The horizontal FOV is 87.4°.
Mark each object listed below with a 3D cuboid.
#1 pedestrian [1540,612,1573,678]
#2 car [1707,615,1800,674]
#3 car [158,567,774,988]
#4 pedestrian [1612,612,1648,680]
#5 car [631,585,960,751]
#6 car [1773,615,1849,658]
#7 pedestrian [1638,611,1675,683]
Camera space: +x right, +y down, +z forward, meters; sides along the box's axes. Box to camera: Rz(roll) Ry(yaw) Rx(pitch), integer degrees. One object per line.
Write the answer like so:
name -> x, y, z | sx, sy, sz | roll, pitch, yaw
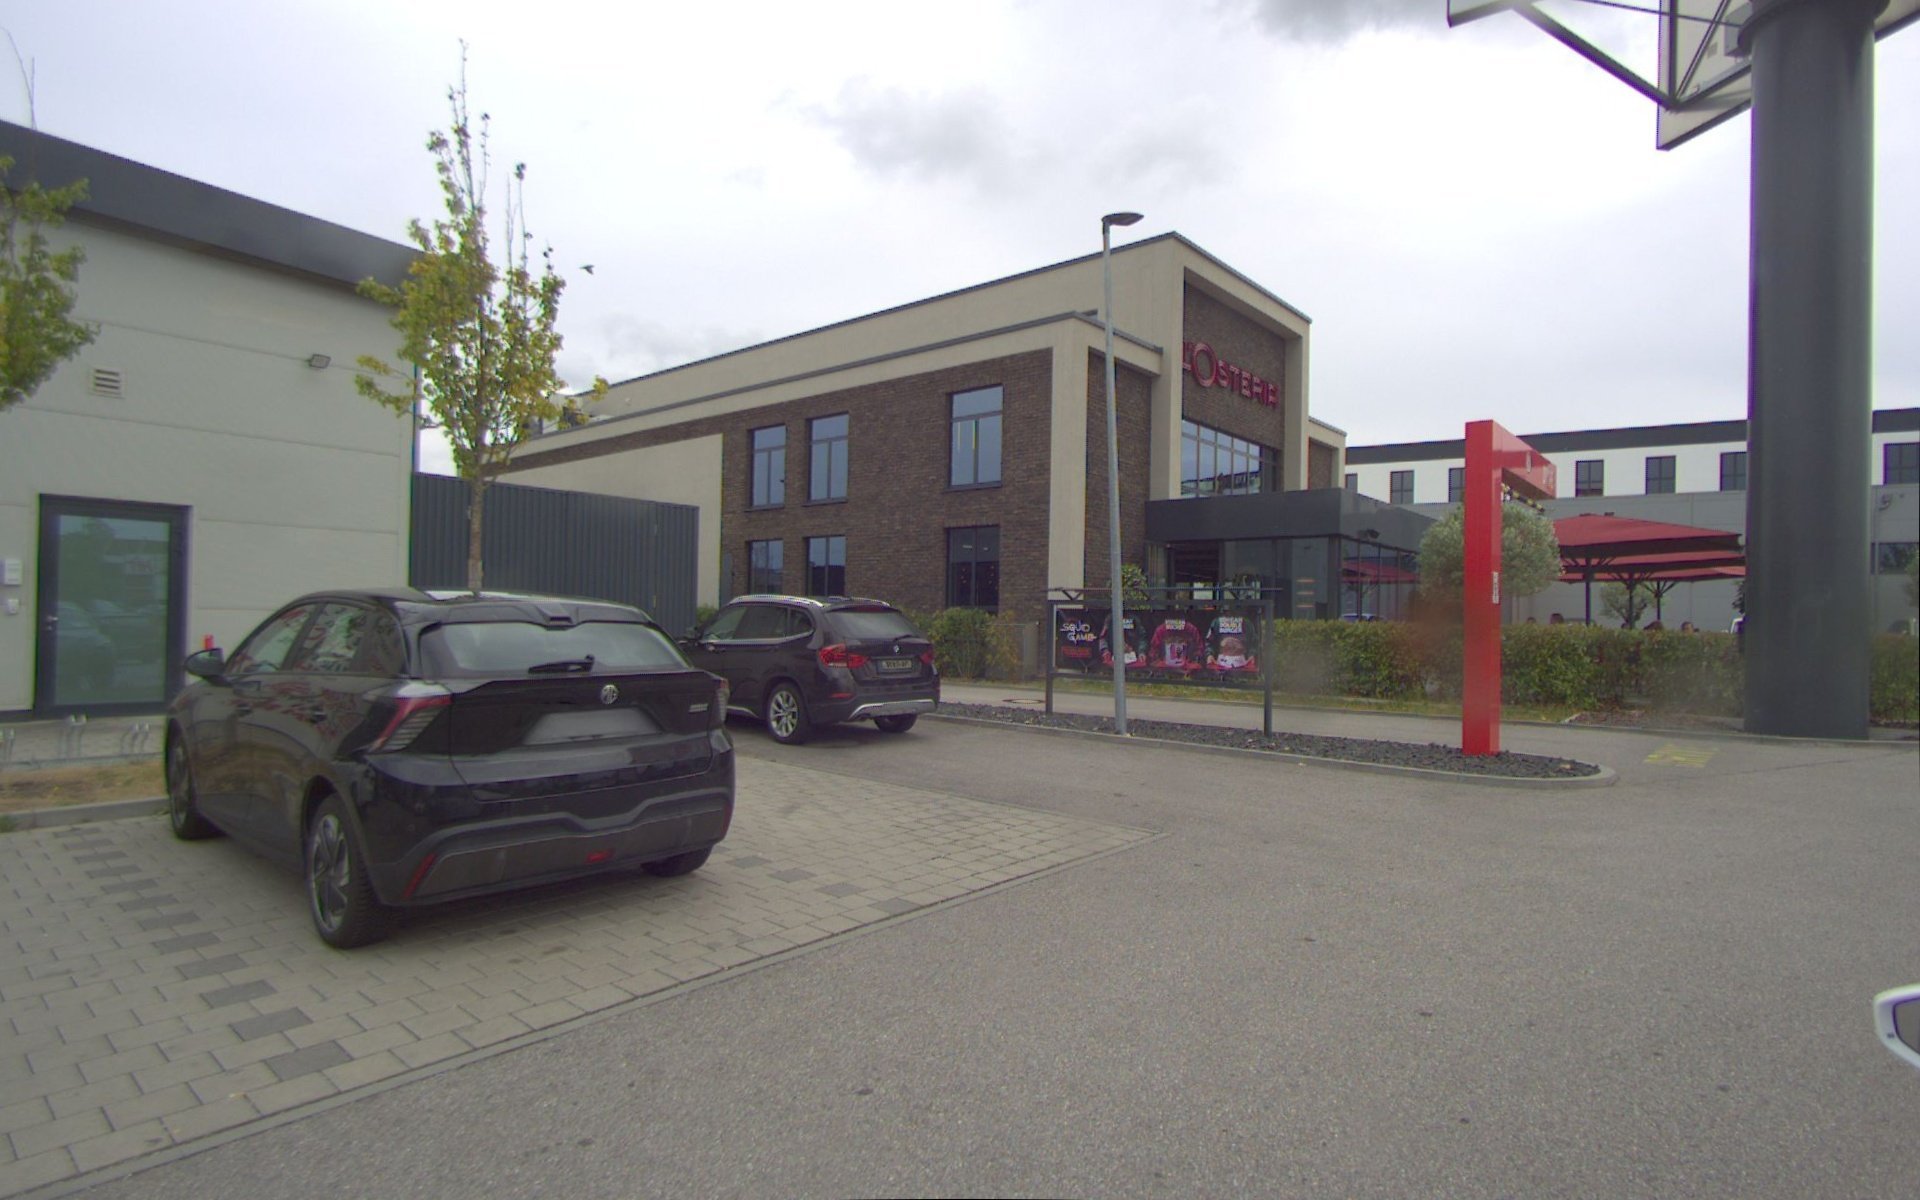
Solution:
pedestrian -> 11.082, 0.831, 18.657 | 0.454, 1.215, 0.415 | 2, -3, -44
car -> 24.035, 1.339, 30.579 | 1.968, 1.672, 4.563 | -2, -3, 36
car -> -3.021, 0.643, 5.702 | 4.063, 1.548, 1.732 | 1, -1, 42
pedestrian -> 17.820, 1.209, 26.713 | 0.731, 1.771, 0.701 | -2, -2, 38
car -> -2.032, 0.738, 11.749 | 3.943, 1.617, 1.727 | -2, -3, 42
car -> 32.832, 1.407, 38.862 | 1.713, 1.572, 4.252 | -1, -3, 33
pedestrian -> 11.907, 0.796, 17.168 | 0.454, 1.215, 0.415 | 2, -3, -44
